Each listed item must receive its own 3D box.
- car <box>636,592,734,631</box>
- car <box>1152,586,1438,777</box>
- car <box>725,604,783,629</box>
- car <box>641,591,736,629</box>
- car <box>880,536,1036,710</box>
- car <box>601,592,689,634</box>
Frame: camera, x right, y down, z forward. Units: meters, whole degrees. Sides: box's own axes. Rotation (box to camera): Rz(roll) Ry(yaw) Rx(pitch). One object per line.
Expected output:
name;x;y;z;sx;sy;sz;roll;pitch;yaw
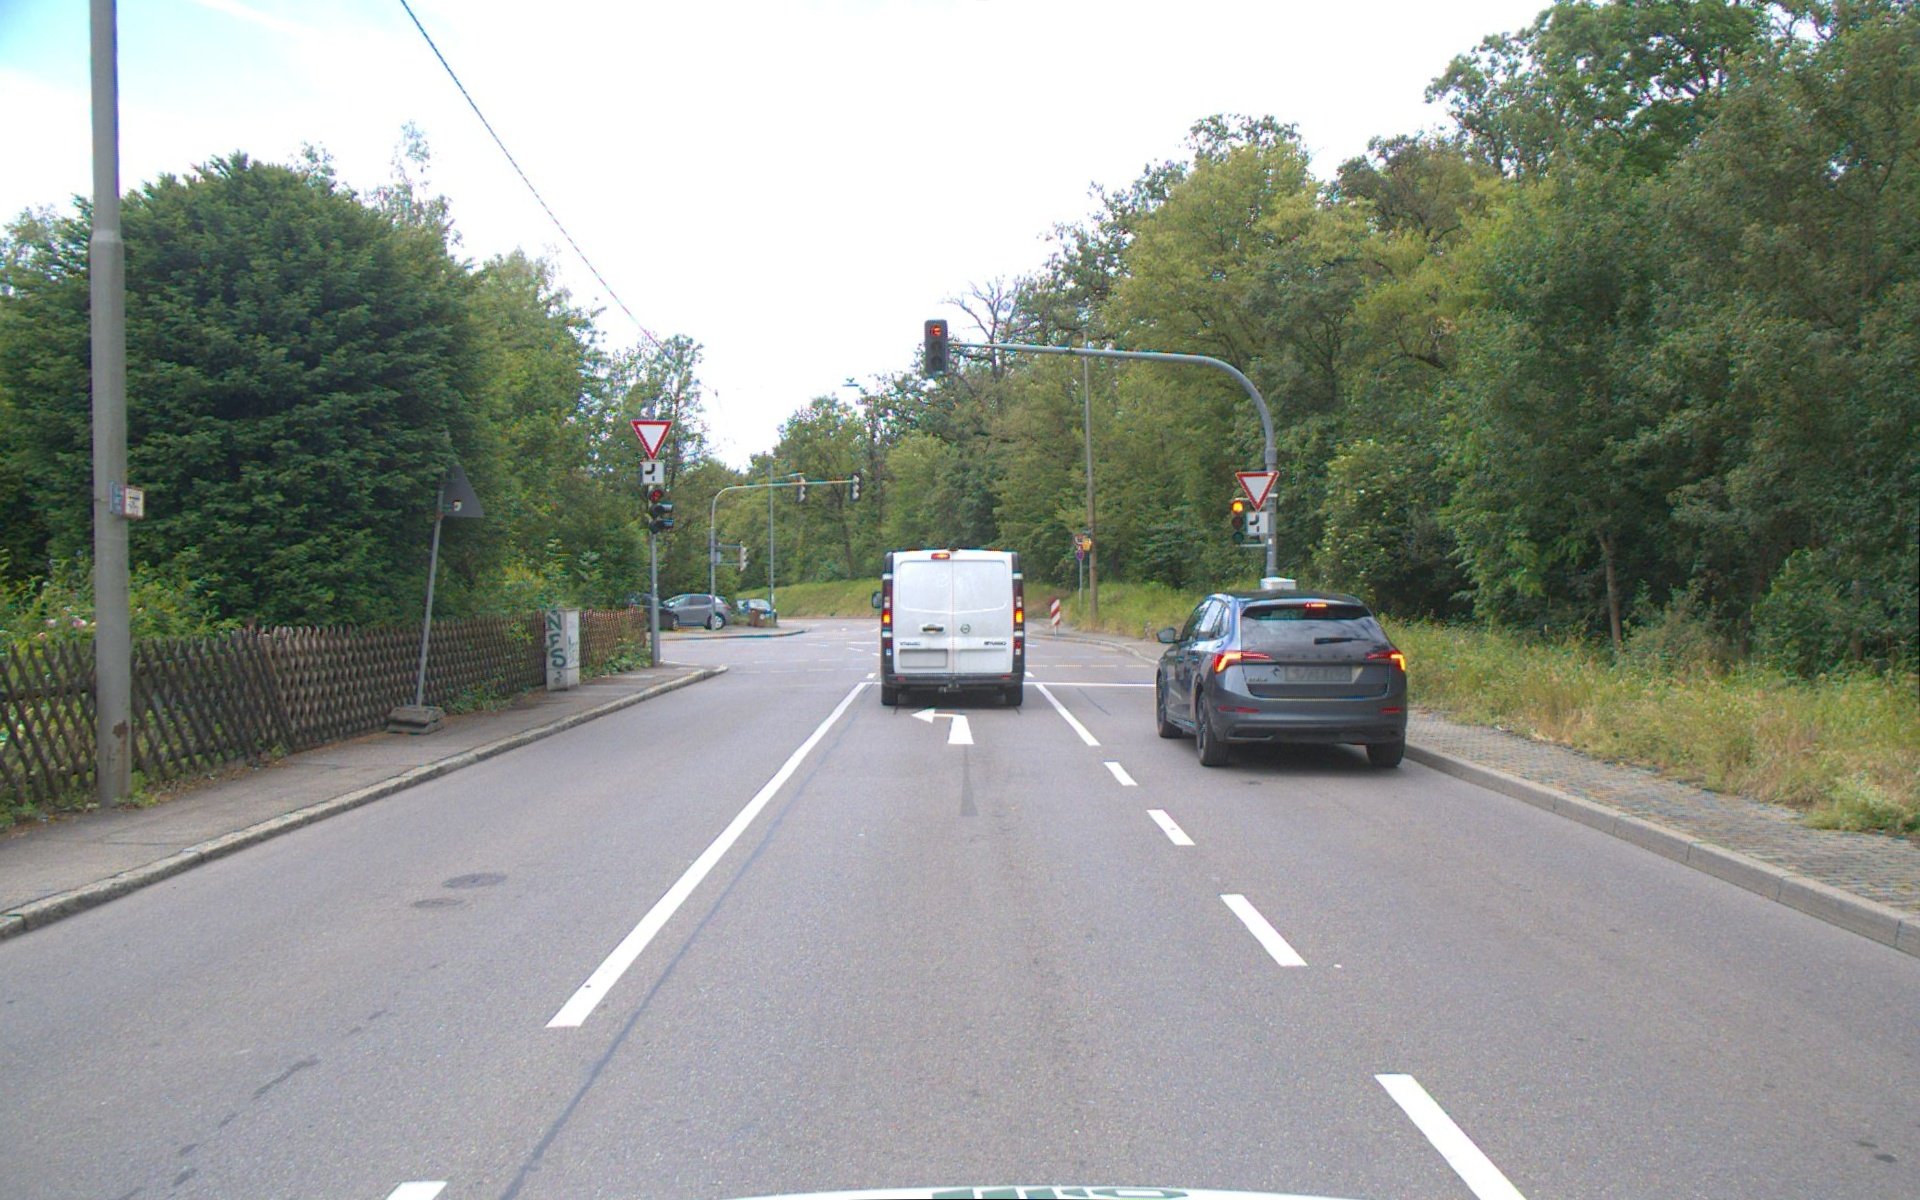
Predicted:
car;-11.980;0.467;72.028;4.022;1.580;1.846;-1;1;-18
car;2.886;0.626;15.084;1.756;1.476;4.000;-1;0;0
car;-13.712;1.095;110.062;1.848;1.533;3.936;-2;1;-43
car;-12.311;0.435;74.982;4.022;1.580;1.846;-1;1;-18
car;-0.117;0.260;22.528;1.878;2.089;4.612;-1;0;-3
car;-11.770;0.468;61.937;1.662;1.474;3.544;1;0;19
